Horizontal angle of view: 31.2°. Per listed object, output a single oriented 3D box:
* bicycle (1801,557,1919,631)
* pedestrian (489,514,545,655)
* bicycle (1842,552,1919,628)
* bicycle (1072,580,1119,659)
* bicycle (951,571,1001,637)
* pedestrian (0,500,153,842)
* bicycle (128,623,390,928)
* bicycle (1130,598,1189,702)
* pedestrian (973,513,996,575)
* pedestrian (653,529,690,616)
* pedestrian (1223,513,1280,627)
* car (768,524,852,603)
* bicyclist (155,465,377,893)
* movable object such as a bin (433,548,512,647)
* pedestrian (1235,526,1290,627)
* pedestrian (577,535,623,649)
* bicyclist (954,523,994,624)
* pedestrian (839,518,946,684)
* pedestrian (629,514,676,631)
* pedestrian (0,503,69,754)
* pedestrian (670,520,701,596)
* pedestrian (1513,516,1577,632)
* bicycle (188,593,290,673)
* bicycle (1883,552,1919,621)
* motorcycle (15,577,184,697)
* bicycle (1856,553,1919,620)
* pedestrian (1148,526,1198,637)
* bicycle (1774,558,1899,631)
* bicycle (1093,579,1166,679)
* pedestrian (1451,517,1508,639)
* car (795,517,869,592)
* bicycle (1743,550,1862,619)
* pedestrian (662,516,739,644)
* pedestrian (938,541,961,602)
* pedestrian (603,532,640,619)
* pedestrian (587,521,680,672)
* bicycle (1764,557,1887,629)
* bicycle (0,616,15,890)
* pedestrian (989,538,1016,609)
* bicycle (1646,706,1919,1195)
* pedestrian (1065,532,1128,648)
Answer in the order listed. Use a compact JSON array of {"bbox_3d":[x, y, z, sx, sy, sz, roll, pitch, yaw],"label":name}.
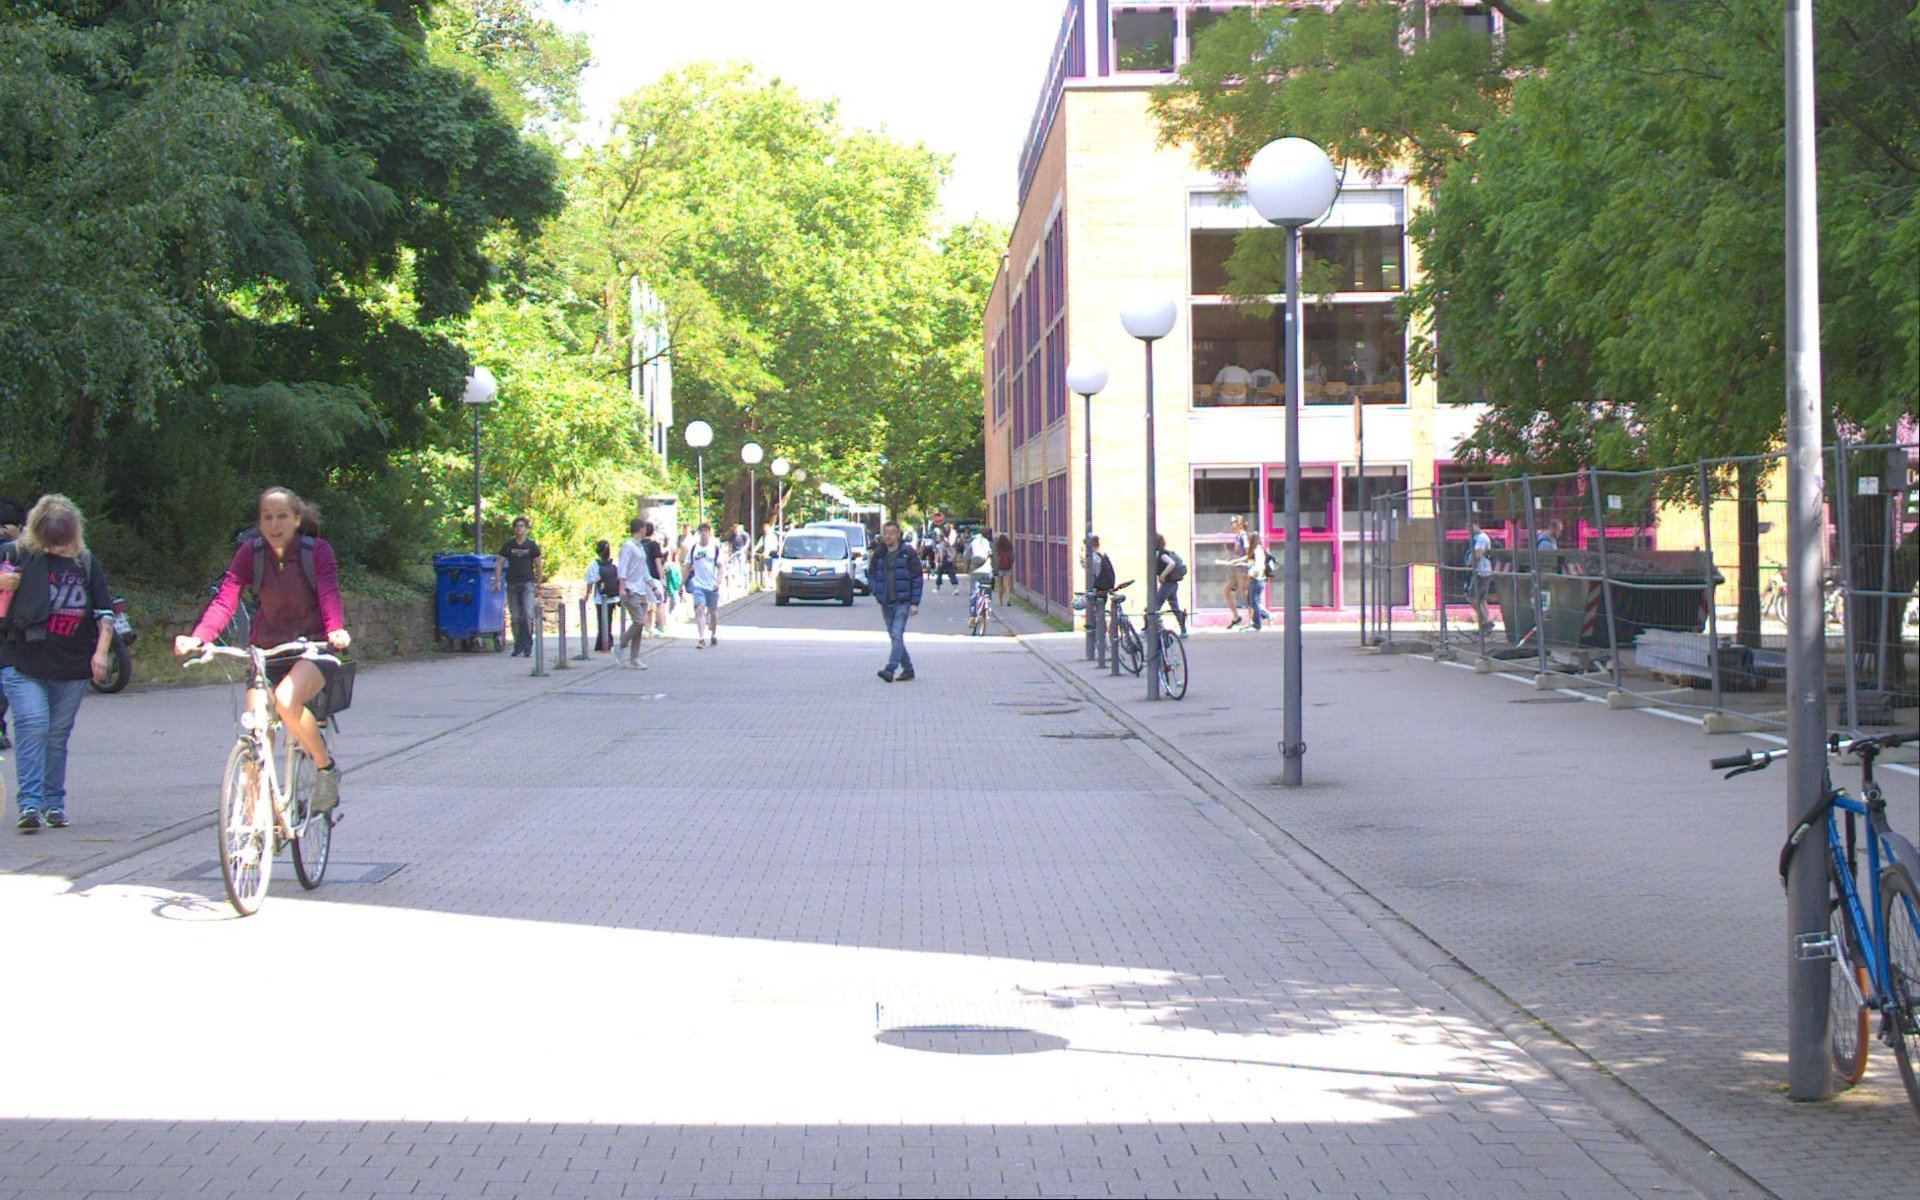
[{"bbox_3d":[13.953,-0.099,53.041,1.809,1.106,0.524,1,1,-1],"label":"bicycle"},{"bbox_3d":[-5.936,-0.211,46.103,0.682,1.866,1.121,0,0,-5],"label":"pedestrian"},{"bbox_3d":[14.061,-0.141,51.256,1.694,1.106,0.474,1,1,3],"label":"bicycle"},{"bbox_3d":[1.757,0.244,44.639,0.450,0.958,1.740,-3,1,-1],"label":"bicycle"},{"bbox_3d":[0.260,0.058,58.327,0.587,1.080,1.908,0,1,-8],"label":"bicycle"},{"bbox_3d":[-4.642,0.334,17.454,0.767,1.674,0.907,-2,2,-33],"label":"pedestrian"},{"bbox_3d":[-2.854,0.678,14.198,0.771,1.146,2.108,0,0,-4],"label":"bicycle"},{"bbox_3d":[1.926,0.475,33.328,0.395,0.932,1.732,-2,1,-1],"label":"bicycle"},{"bbox_3d":[0.681,-1.547,95.156,0.586,1.667,0.817,-1,0,1],"label":"pedestrian"},{"bbox_3d":[-5.445,-0.521,64.855,0.682,1.615,0.914,0,0,-5],"label":"pedestrian"},{"bbox_3d":[4.762,-0.488,56.200,0.825,1.838,0.685,0,0,-3],"label":"pedestrian"},{"bbox_3d":[-3.458,-0.872,79.852,1.790,1.755,4.482,-1,1,-1],"label":"car"},{"bbox_3d":[-2.853,0.317,14.215,0.771,1.710,0.911,0,0,-4],"label":"bicyclist"},{"bbox_3d":[-6.767,-0.046,47.756,0.709,1.332,1.239,2,1,9],"label":"movable object such as a bin"},{"bbox_3d":[4.877,-0.384,55.500,0.780,1.615,0.685,0,0,-3],"label":"pedestrian"},{"bbox_3d":[-5.132,-0.116,48.976,0.569,1.605,0.918,0,0,-10],"label":"pedestrian"},{"bbox_3d":[0.235,-0.462,58.495,0.587,1.710,0.665,0,1,-8],"label":"bicyclist"},{"bbox_3d":[-0.764,0.006,39.201,0.886,1.851,1.031,1,1,20],"label":"pedestrian"},{"bbox_3d":[-4.856,-0.432,54.328,0.682,1.838,0.783,0,0,-1],"label":"pedestrian"},{"bbox_3d":[-6.771,0.181,23.989,0.684,1.718,0.903,1,1,17],"label":"pedestrian"},{"bbox_3d":[-6.750,-1.029,84.538,0.682,1.838,0.783,0,0,-1],"label":"pedestrian"},{"bbox_3d":[8.881,-0.388,52.164,0.902,1.722,0.684,-1,-1,12],"label":"pedestrian"},{"bbox_3d":[-8.370,0.381,39.965,0.421,0.907,1.739,0,-1,14],"label":"bicycle"},{"bbox_3d":[16.058,-0.210,56.199,1.805,1.106,0.474,1,1,-6],"label":"bicycle"},{"bbox_3d":[-8.116,0.334,32.376,2.024,1.043,0.473,3,2,42],"label":"motorcycle"},{"bbox_3d":[15.975,-0.216,57.551,1.805,1.106,0.474,1,1,-6],"label":"bicycle"},{"bbox_3d":[3.265,-0.284,52.673,0.697,1.667,0.588,-1,0,7],"label":"pedestrian"},{"bbox_3d":[13.743,-0.094,53.896,1.809,1.106,0.523,1,1,3],"label":"bicycle"},{"bbox_3d":[1.924,0.318,39.204,0.708,1.089,1.749,0,1,-1],"label":"bicycle"},{"bbox_3d":[7.744,-0.321,51.264,0.767,1.788,0.588,-1,0,7],"label":"pedestrian"},{"bbox_3d":[-3.423,-1.243,92.778,1.883,1.967,5.215,0,1,-1],"label":"car"},{"bbox_3d":[13.893,-0.261,56.732,1.809,1.106,0.524,1,1,-2],"label":"bicycle"},{"bbox_3d":[-3.859,-0.300,51.157,0.725,1.875,1.081,0,0,22],"label":"pedestrian"},{"bbox_3d":[-0.290,-0.780,94.366,0.586,1.667,0.817,-1,0,1],"label":"pedestrian"},{"bbox_3d":[-6.376,-0.463,64.832,0.682,1.615,0.979,0,0,-5],"label":"pedestrian"},{"bbox_3d":[-4.037,-0.054,42.452,0.783,1.839,1.118,0,1,-25],"label":"pedestrian"},{"bbox_3d":[13.804,-0.112,54.864,1.809,1.106,0.524,1,1,-3],"label":"bicycle"},{"bbox_3d":[-4.941,0.650,14.704,1.693,1.155,0.474,0,1,-9],"label":"bicycle"},{"bbox_3d":[1.007,-0.622,80.956,0.586,1.667,0.699,-1,0,1],"label":"pedestrian"},{"bbox_3d":[2.261,0.842,8.902,0.537,1.036,1.859,-1,1,-1],"label":"bicycle"},{"bbox_3d":[1.966,-0.145,49.467,0.852,1.645,0.588,0,0,7],"label":"pedestrian"}]
